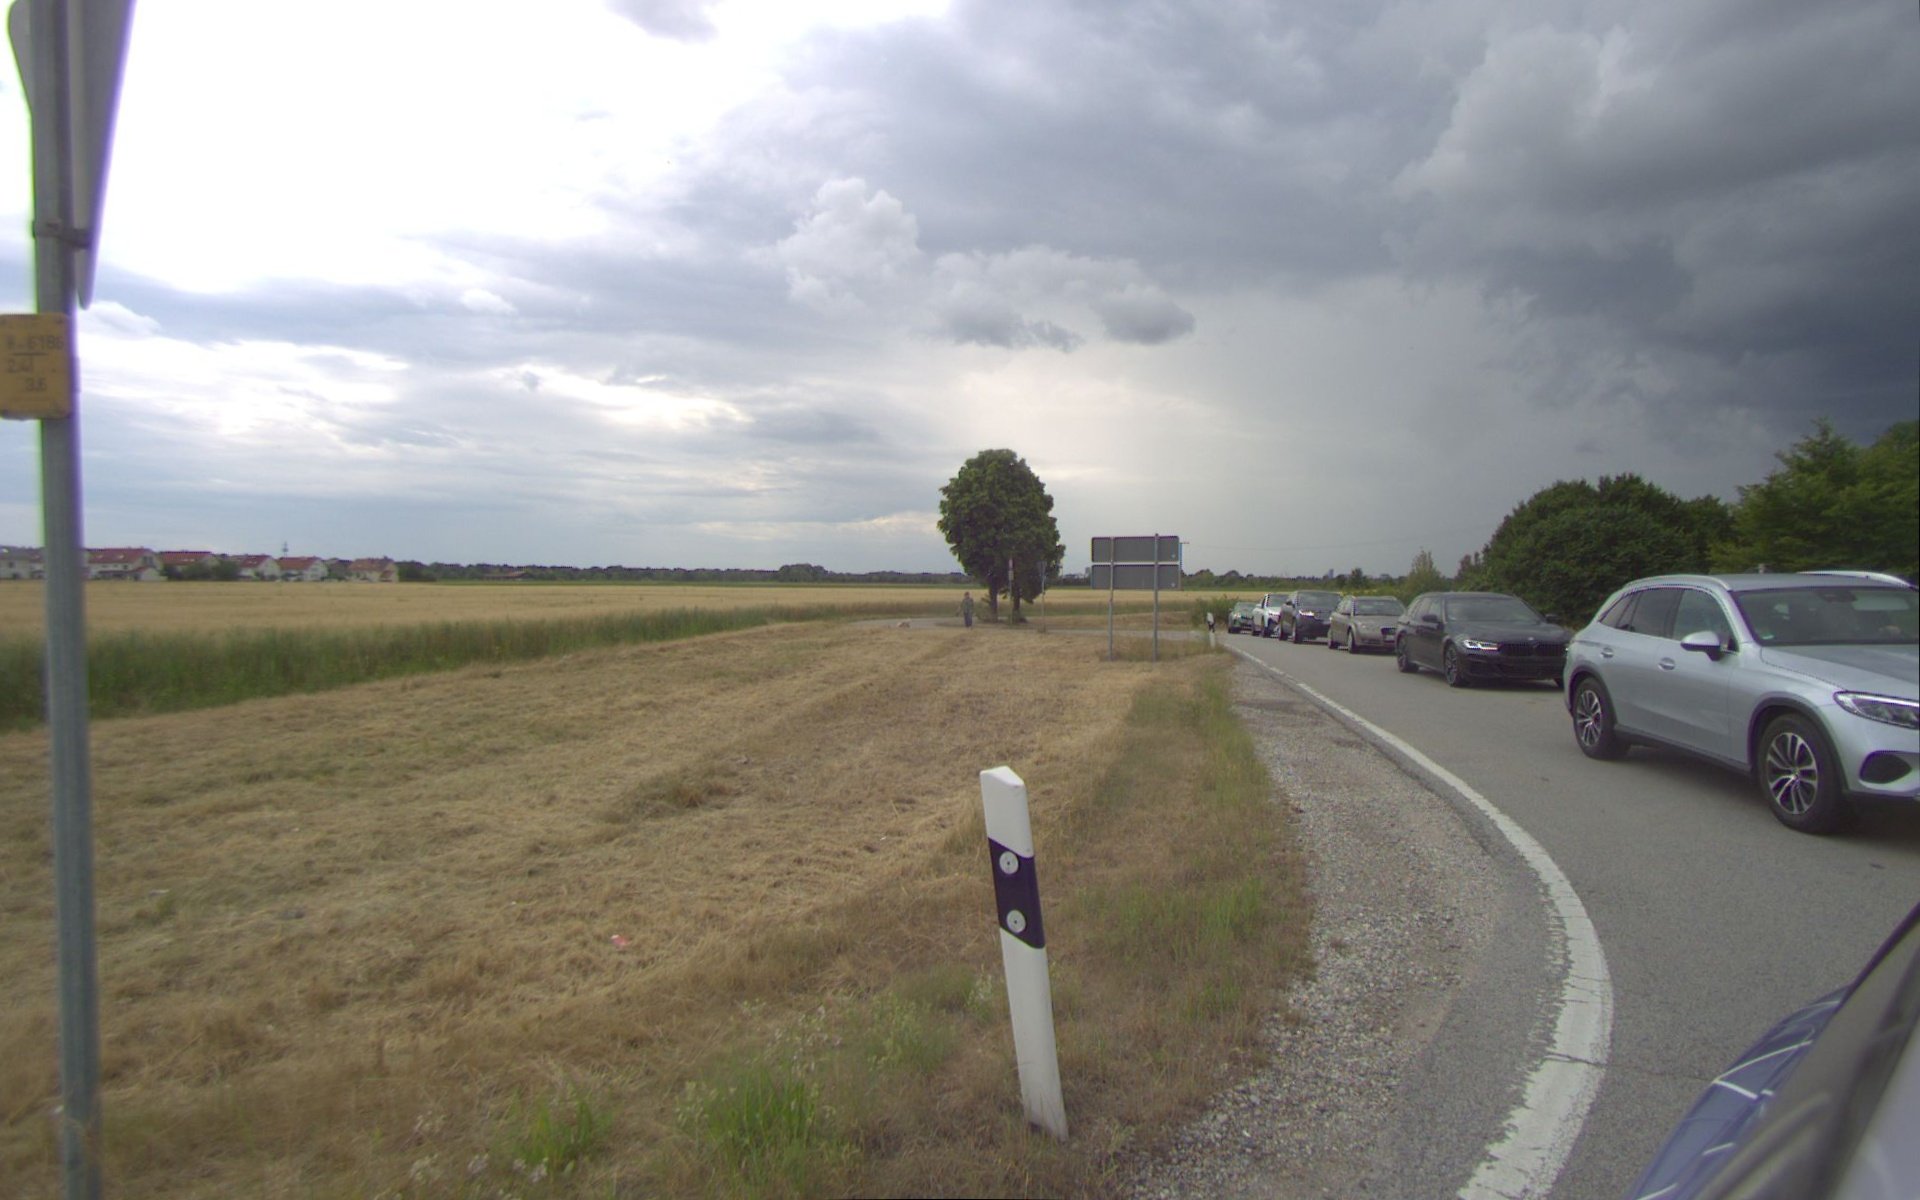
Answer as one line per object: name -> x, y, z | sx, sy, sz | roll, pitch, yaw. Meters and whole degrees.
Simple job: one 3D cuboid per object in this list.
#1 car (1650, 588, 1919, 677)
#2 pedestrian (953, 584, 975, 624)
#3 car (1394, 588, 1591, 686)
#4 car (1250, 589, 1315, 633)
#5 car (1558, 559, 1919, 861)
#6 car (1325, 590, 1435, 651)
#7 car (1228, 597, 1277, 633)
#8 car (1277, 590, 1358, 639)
car -> 15.915, 0.538, 19.652 | 1.736, 1.469, 4.398 | 0, 1, -5
pedestrian -> 0.152, 0.167, 41.668 | 0.758, 1.631, 0.946 | 0, 1, -8
car -> 8.717, 0.520, 17.028 | 1.696, 1.370, 4.678 | -2, 1, 12
car -> 12.196, 0.366, 38.492 | 1.694, 1.513, 4.625 | -2, 1, 10
car -> 6.346, 0.531, 7.400 | 1.966, 1.606, 4.381 | -2, 1, 11
car -> 10.599, 0.448, 25.854 | 1.694, 1.370, 4.202 | 1, 1, 10
car -> 13.498, 0.653, 46.880 | 1.694, 1.513, 4.202 | -2, 1, 10
car -> 11.240, 0.409, 32.030 | 1.694, 1.370, 4.202 | -2, 1, 10
